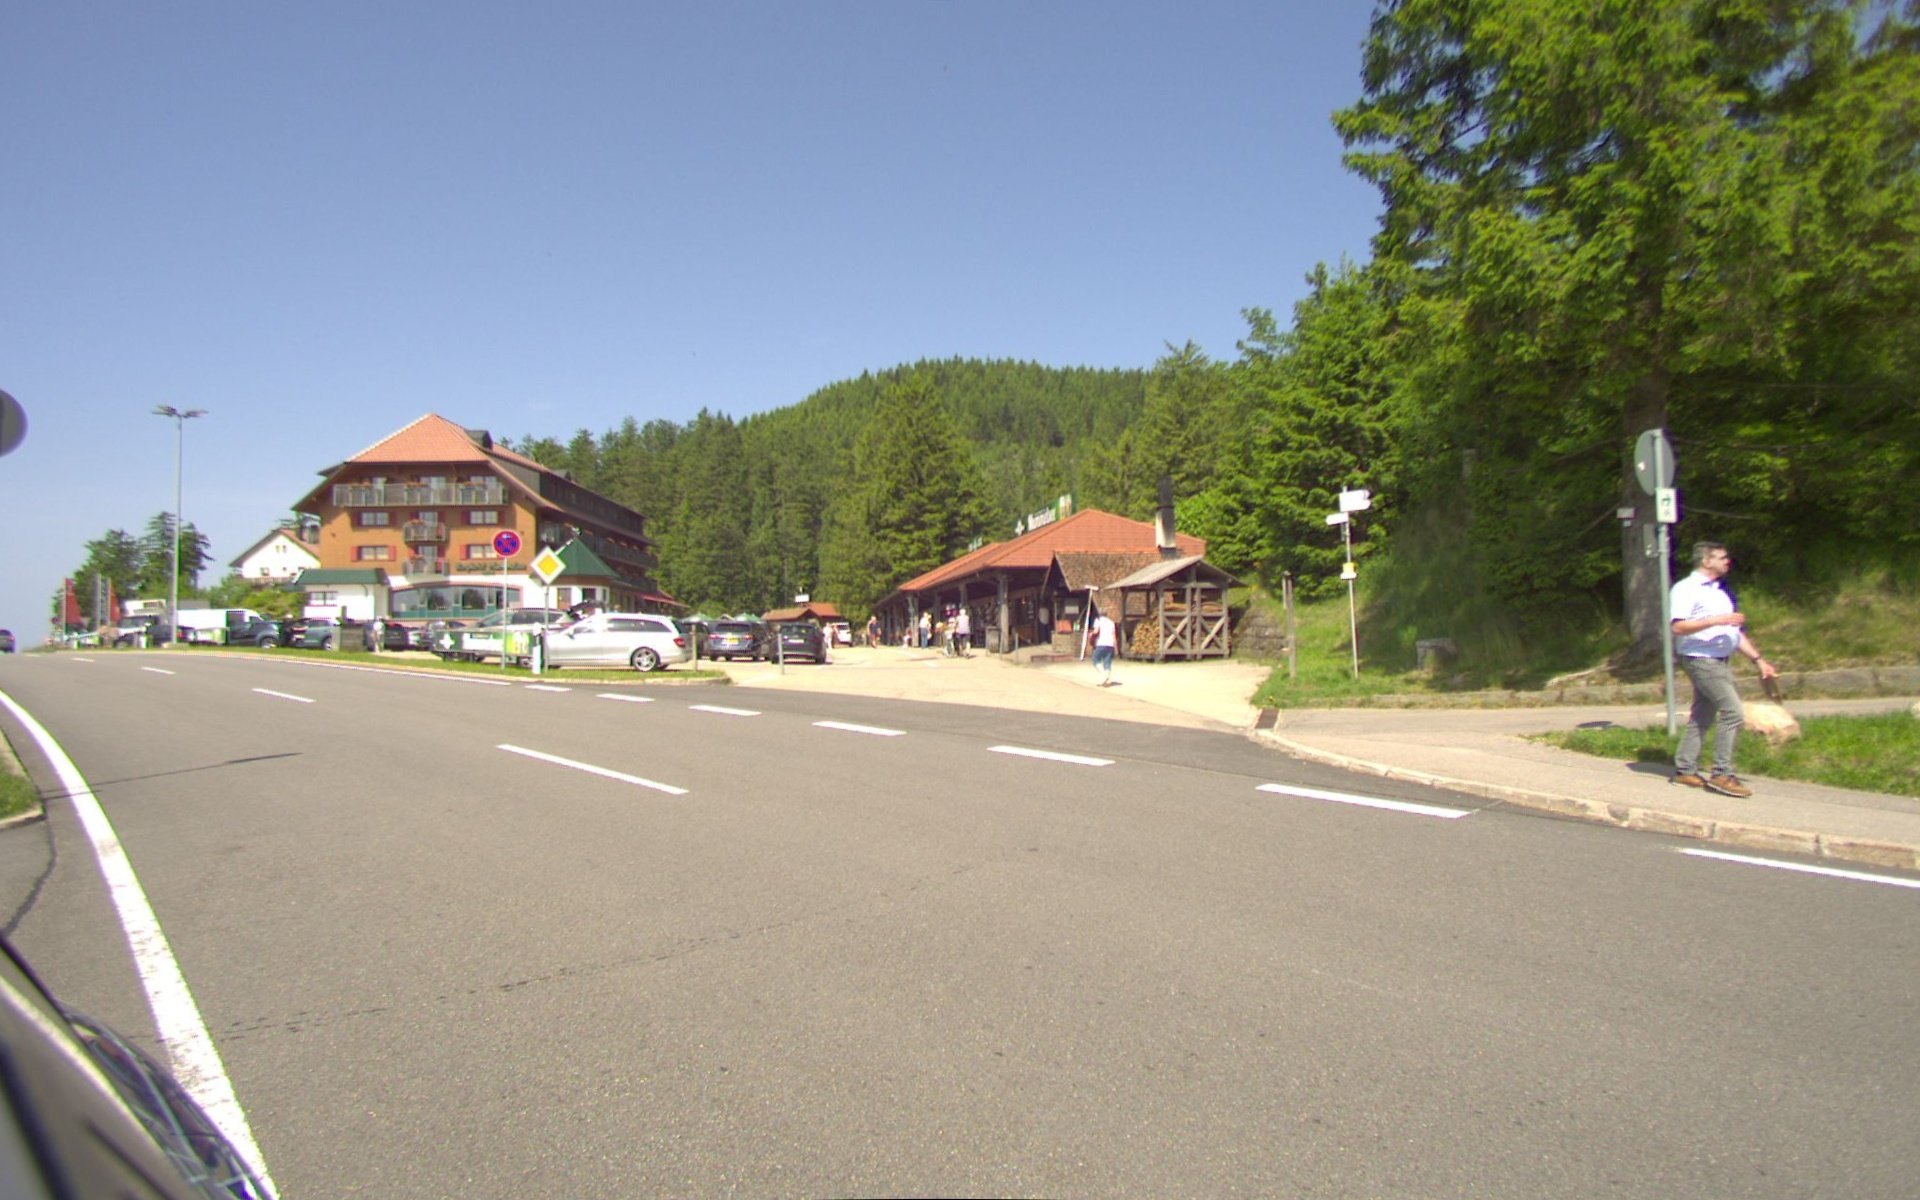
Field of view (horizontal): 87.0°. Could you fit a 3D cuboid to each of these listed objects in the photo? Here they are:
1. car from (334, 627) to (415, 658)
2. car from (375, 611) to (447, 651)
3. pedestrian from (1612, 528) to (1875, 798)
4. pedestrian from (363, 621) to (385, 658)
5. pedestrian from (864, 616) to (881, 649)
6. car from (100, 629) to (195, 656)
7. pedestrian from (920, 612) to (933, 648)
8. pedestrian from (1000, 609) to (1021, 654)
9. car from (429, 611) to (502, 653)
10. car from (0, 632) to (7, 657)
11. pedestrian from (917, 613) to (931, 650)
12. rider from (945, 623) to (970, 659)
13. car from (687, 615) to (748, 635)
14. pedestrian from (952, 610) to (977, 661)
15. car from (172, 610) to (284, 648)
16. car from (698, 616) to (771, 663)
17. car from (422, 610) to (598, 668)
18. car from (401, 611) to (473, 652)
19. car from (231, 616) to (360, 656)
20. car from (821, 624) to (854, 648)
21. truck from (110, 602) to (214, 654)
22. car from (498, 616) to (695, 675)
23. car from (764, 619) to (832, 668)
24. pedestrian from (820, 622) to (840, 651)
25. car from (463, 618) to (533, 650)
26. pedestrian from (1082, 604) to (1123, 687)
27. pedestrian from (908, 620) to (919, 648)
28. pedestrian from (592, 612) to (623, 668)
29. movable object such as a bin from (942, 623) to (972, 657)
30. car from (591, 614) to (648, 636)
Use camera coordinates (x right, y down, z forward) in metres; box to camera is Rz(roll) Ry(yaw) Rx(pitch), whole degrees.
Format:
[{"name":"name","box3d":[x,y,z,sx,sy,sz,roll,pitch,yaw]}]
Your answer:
[{"name":"car","box3d":[-28.544,2.068,49.342,3.985,1.441,1.704,-1,-2,31]},{"name":"car","box3d":[-29.595,1.640,54.683,1.970,2.029,4.004,-1,-1,-4]},{"name":"pedestrian","box3d":[5.516,0.408,7.172,0.962,1.711,1.166,0,-1,-30]},{"name":"pedestrian","box3d":[-26.449,1.759,45.687,0.733,1.637,0.685,0,-1,-19]},{"name":"pedestrian","box3d":[-4.597,1.702,53.300,0.771,1.668,0.881,-1,-1,-10]},{"name":"car","box3d":[-48.391,2.500,60.369,4.028,1.539,1.828,0,-1,-10]},{"name":"pedestrian","box3d":[-1.539,1.388,46.838,0.499,1.668,0.472,-1,-1,-14]},{"name":"pedestrian","box3d":[1.997,1.246,40.187,0.555,1.750,0.664,-1,-1,39]},{"name":"car","box3d":[-25.141,1.591,51.598,1.970,2.029,4.004,-1,-1,-4]},{"name":"car","box3d":[-60.615,2.788,62.666,4.711,1.485,1.860,-1,0,41]},{"name":"pedestrian","box3d":[-1.646,1.409,46.154,0.499,1.668,0.472,-1,-1,-14]},{"name":"rider","box3d":[-0.098,1.454,36.111,0.828,1.284,0.908,-1,-1,4]},{"name":"car","box3d":[-20.674,2.111,86.425,4.772,1.729,1.922,0,-1,-5]},{"name":"pedestrian","box3d":[0.162,1.216,34.969,0.828,1.712,0.802,-1,-1,4]},{"name":"car","box3d":[-57.166,2.222,79.272,6.846,2.812,2.675,0,-1,-31]},{"name":"car","box3d":[-8.121,1.405,36.799,1.970,1.541,4.003,1,-1,-4]},{"name":"car","box3d":[-13.257,1.138,30.050,4.480,1.668,1.725,0,-1,-7]},{"name":"car","box3d":[-27.332,1.615,53.037,1.970,2.029,4.004,-1,-1,-4]},{"name":"car","box3d":[-28.206,1.519,43.079,4.205,1.641,1.826,0,-1,-6]},{"name":"car","box3d":[-8.408,2.454,69.710,1.970,1.541,4.003,1,-1,-4]},{"name":"truck","box3d":[-64.412,2.240,81.981,2.837,3.850,9.038,-2,-1,-12]},{"name":"car","box3d":[-9.085,1.128,25.631,4.432,1.441,1.725,0,-1,-7]},{"name":"car","box3d":[-5.601,1.473,35.453,1.970,1.541,4.003,1,-1,-4]},{"name":"pedestrian","box3d":[-7.878,2.203,61.126,0.917,1.668,0.882,0,-1,-30]},{"name":"car","box3d":[-22.729,1.660,49.974,1.797,1.524,4.098,0,-1,-4]},{"name":"pedestrian","box3d":[2.995,0.947,21.325,0.711,1.694,0.683,0,-1,-5]},{"name":"pedestrian","box3d":[-2.434,1.793,53.041,0.537,1.442,0.474,-1,-1,-7]},{"name":"pedestrian","box3d":[-10.593,1.199,30.418,0.734,1.648,0.849,0,-1,-9]},{"name":"movable object such as a bin","box3d":[-0.087,1.417,36.057,0.971,1.198,1.215,-1,-1,4]},{"name":"car","box3d":[-27.264,1.980,81.121,4.032,1.729,1.922,0,-1,-5]}]
